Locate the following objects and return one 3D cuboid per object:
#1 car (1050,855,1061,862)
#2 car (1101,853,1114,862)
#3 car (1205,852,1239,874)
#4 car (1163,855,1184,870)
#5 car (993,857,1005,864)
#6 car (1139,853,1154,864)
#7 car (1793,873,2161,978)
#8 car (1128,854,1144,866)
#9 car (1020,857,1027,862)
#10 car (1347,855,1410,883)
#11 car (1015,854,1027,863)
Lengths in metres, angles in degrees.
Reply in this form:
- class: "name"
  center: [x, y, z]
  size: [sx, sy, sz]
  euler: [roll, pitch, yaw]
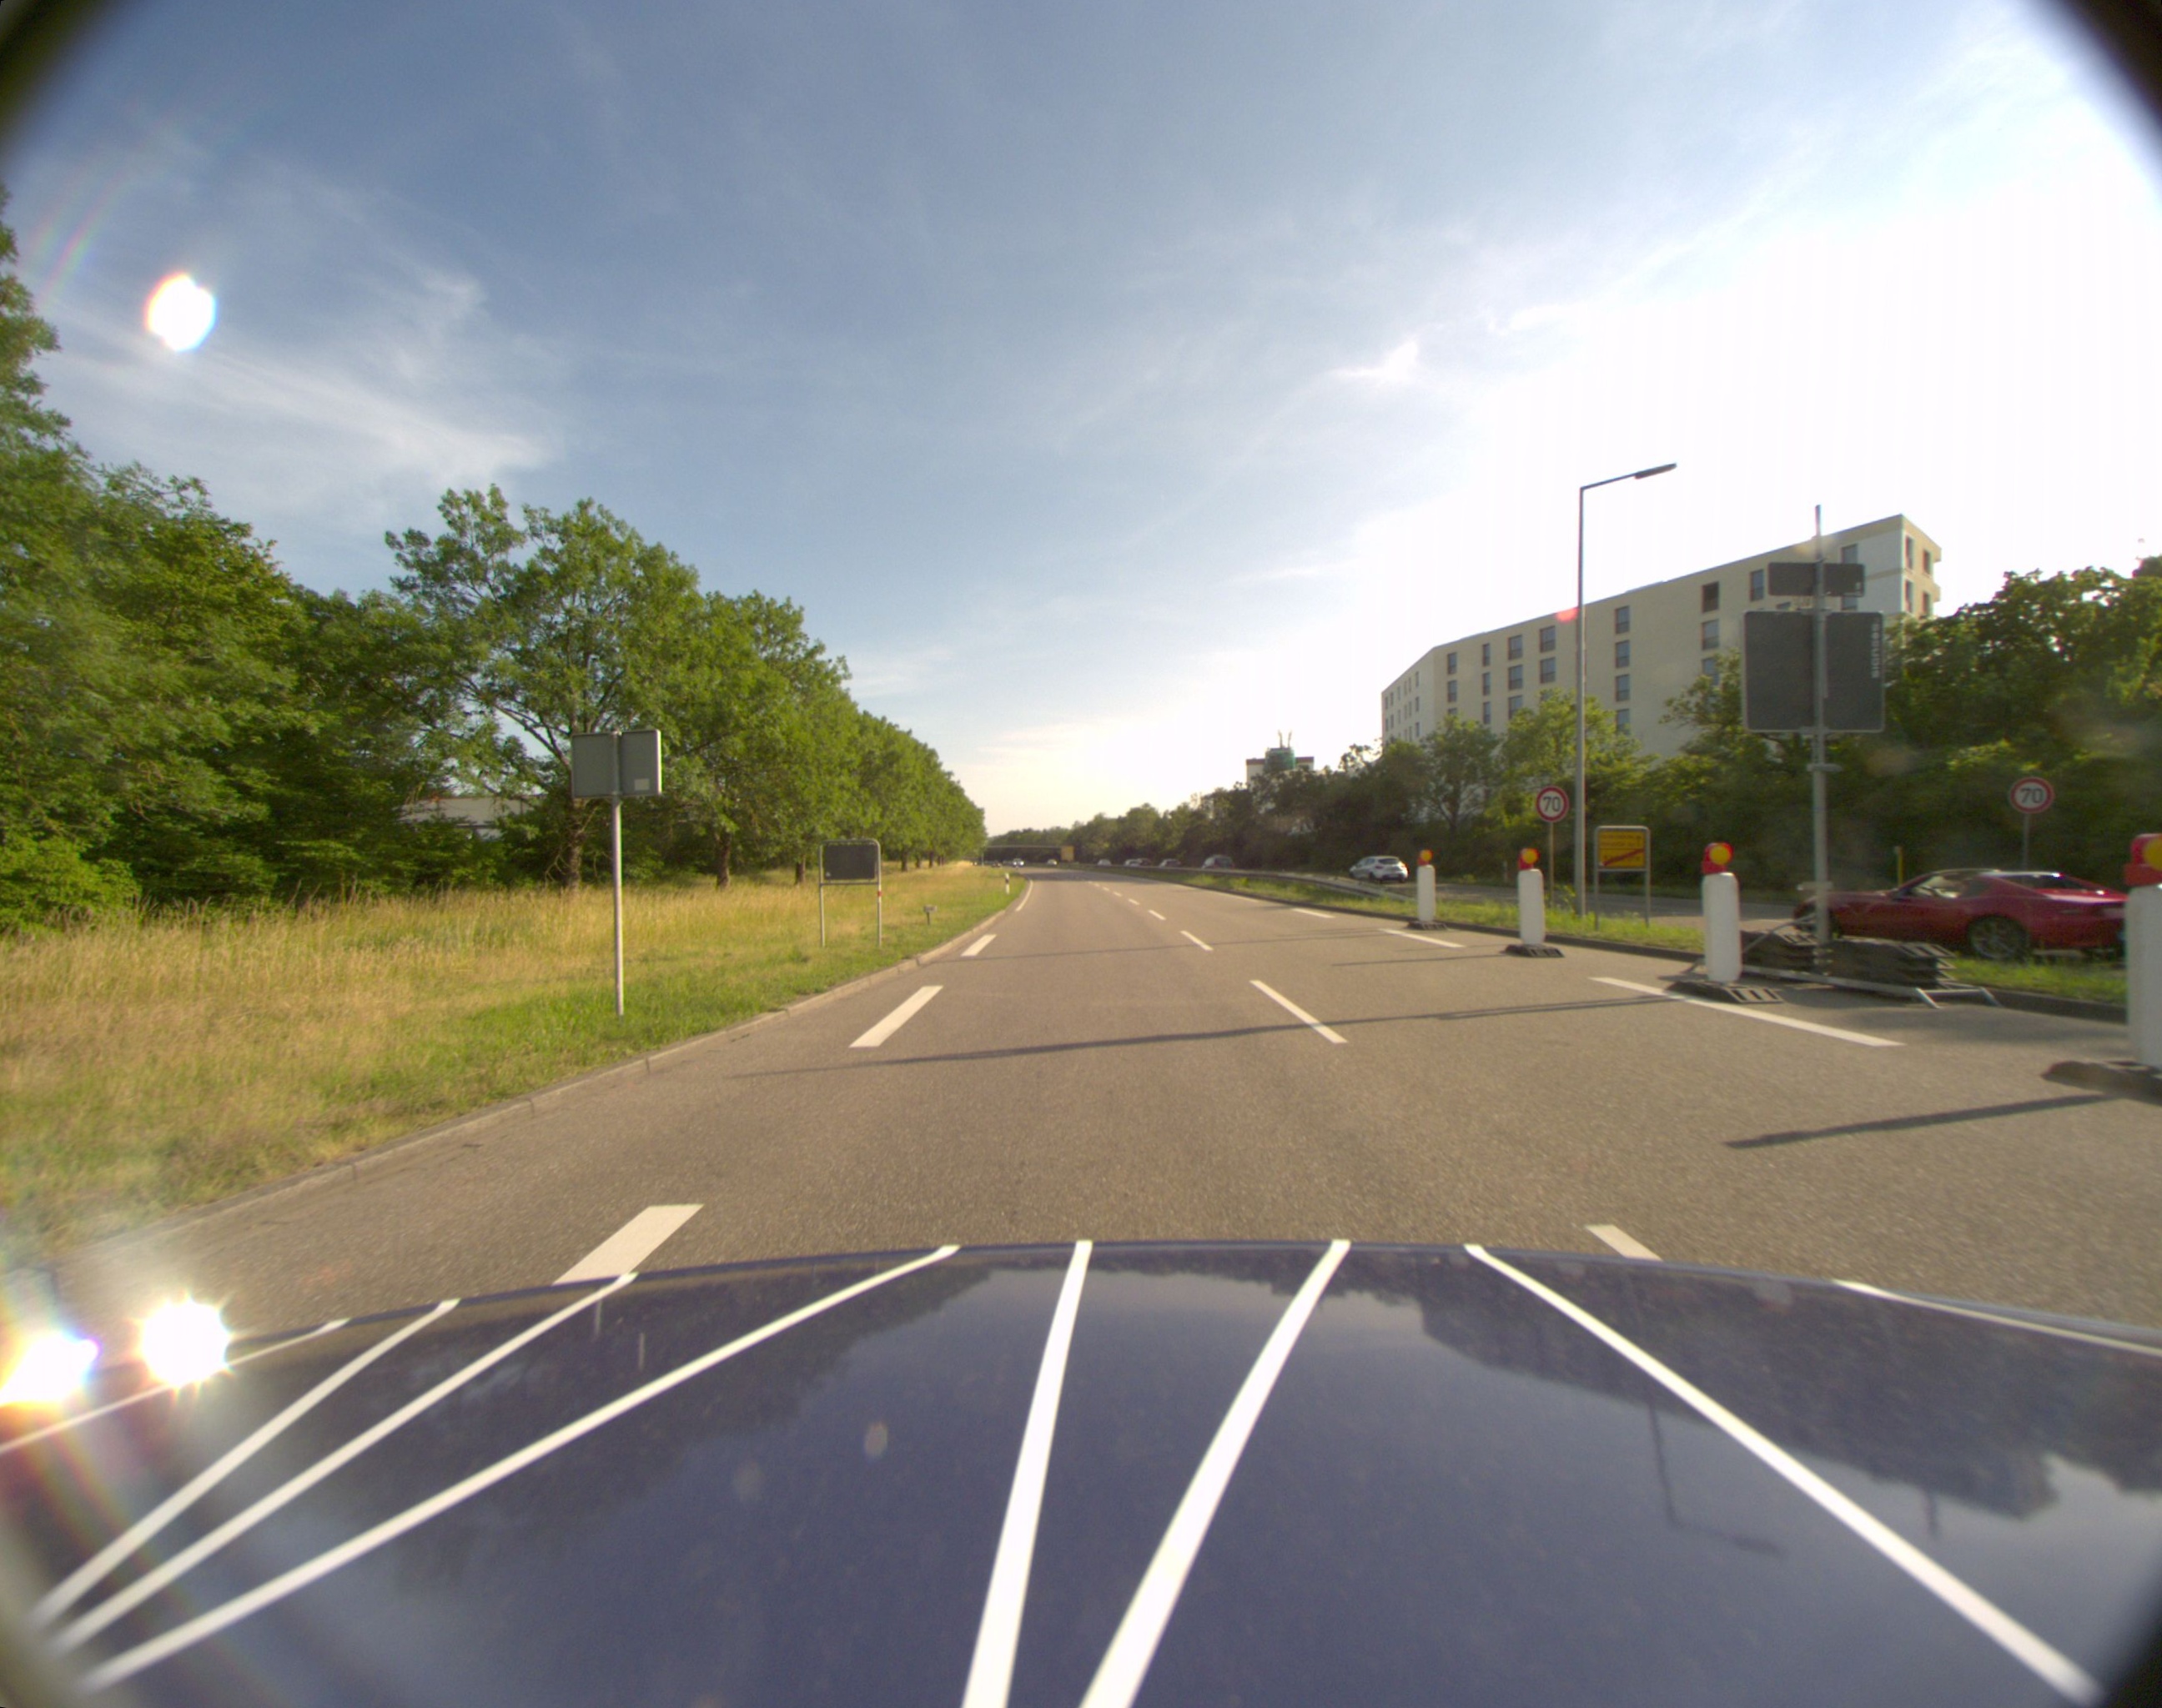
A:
- class: "car"
  center: [-5.697, 0.946, 170.443]
  size: [1.647, 1.432, 4.197]
  euler: [-2, 0, -12]
- class: "car"
  center: [4.657, 0.621, 134.056]
  size: [1.608, 1.432, 3.233]
  euler: [-2, 0, -8]
- class: "car"
  center: [10.580, 0.654, 57.233]
  size: [1.736, 1.602, 3.523]
  euler: [-2, 0, -3]
- class: "car"
  center: [9.223, 0.813, 75.794]
  size: [1.607, 1.432, 3.235]
  euler: [-2, 0, -2]
- class: "car"
  center: [-19.366, 1.530, 179.412]
  size: [1.903, 1.377, 4.350]
  euler: [-2, 0, -15]
- class: "car"
  center: [9.272, 0.587, 107.027]
  size: [1.607, 1.433, 3.235]
  euler: [-2, 0, -3]
- class: "car"
  center: [12.928, 0.913, 11.082]
  size: [1.515, 1.151, 3.671]
  euler: [-2, 0, -4]
- class: "car"
  center: [6.883, 0.691, 95.232]
  size: [1.607, 1.433, 3.235]
  euler: [-2, 0, -3]
- class: "car"
  center: [-16.736, 1.568, 221.689]
  size: [1.608, 1.432, 4.197]
  euler: [-2, 0, -12]
- class: "car"
  center: [15.635, 0.744, 40.179]
  size: [1.644, 1.368, 4.063]
  euler: [-2, 0, -1]
- class: "car"
  center: [-12.957, 0.945, 163.740]
  size: [1.903, 1.813, 4.350]
  euler: [-2, 0, -15]
